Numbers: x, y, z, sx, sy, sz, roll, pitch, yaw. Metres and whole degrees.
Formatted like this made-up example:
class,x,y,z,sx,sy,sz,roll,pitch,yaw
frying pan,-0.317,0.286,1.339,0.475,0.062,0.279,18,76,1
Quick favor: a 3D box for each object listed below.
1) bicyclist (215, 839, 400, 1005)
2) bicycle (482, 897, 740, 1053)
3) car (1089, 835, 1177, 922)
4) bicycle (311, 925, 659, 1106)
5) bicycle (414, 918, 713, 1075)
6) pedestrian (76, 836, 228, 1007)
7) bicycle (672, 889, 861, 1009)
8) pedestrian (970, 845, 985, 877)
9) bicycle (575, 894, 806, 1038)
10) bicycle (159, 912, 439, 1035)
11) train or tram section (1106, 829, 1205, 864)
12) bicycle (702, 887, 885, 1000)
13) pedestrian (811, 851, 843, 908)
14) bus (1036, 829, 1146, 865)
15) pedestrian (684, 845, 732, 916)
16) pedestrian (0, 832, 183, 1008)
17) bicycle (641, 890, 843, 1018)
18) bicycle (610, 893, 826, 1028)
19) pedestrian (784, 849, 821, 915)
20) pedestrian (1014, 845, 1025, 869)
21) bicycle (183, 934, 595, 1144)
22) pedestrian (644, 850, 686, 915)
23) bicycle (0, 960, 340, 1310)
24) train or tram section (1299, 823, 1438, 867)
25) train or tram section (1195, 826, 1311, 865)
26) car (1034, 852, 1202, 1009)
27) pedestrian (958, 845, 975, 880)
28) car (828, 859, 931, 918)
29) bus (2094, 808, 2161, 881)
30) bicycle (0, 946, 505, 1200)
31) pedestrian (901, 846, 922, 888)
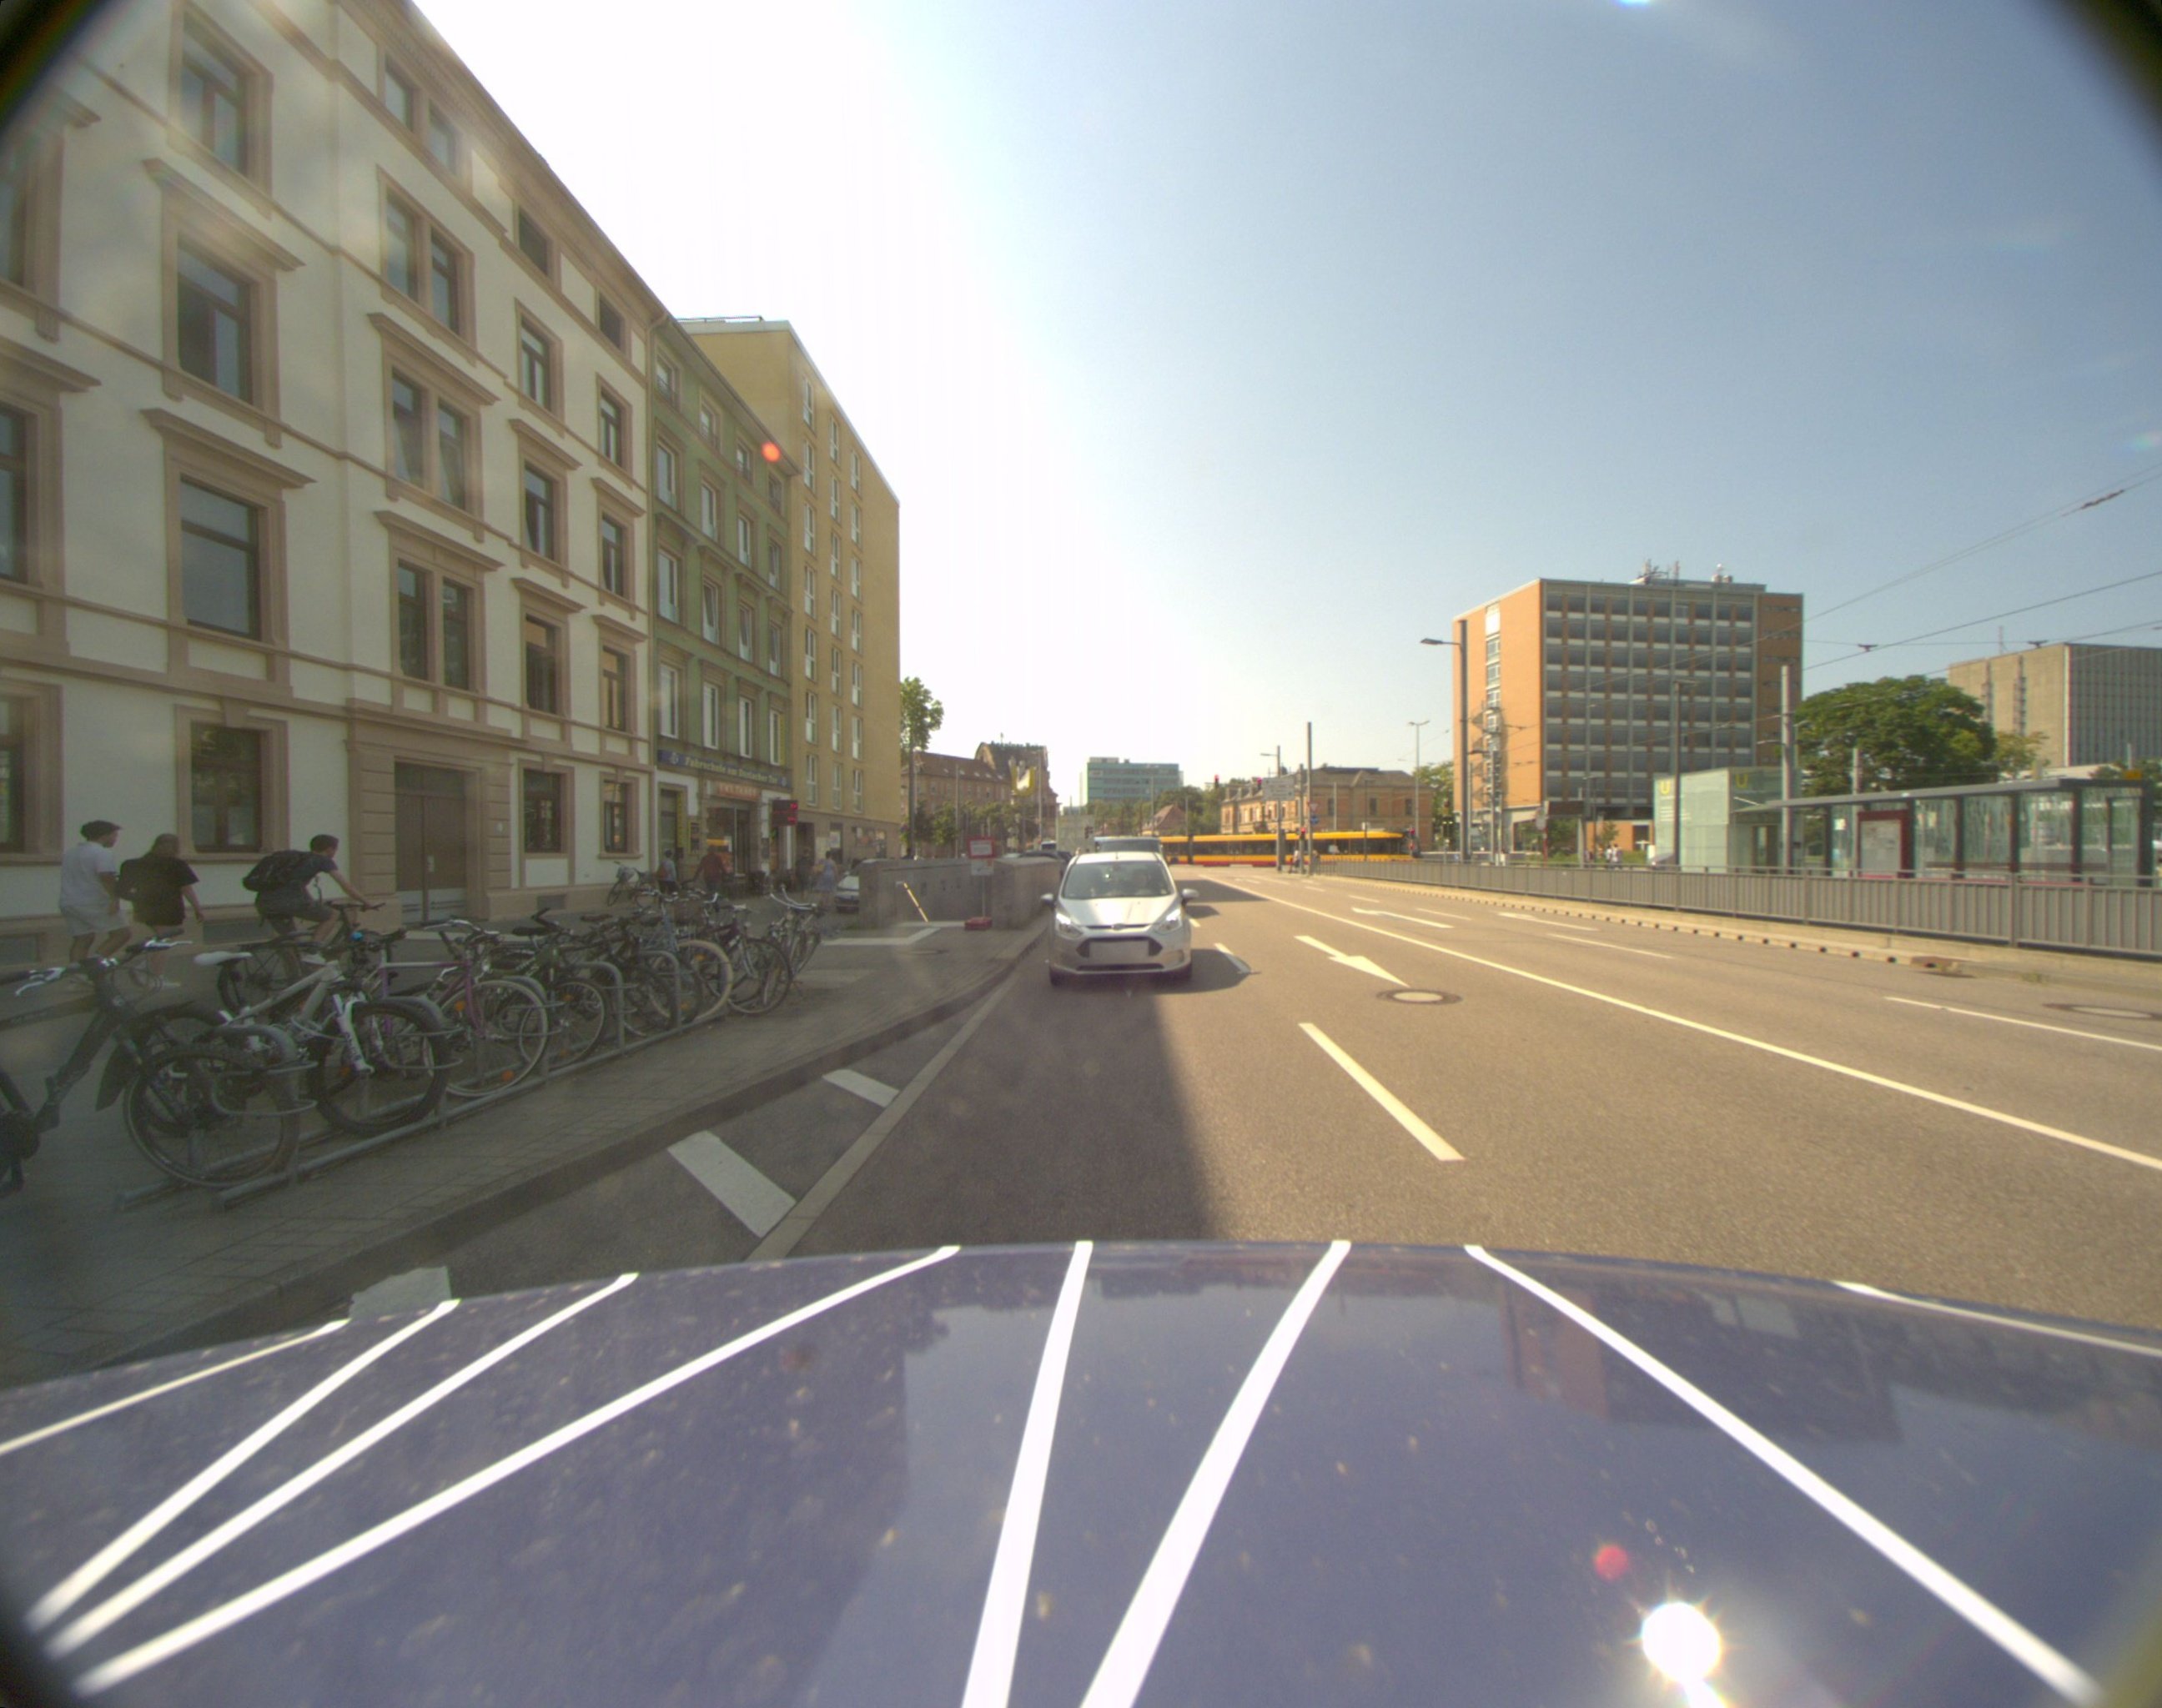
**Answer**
class,x,y,z,sx,sy,sz,roll,pitch,yaw
bicyclist,-7.868,0.647,7.793,0.720,1.577,1.103,-1,1,4
bicycle,-3.960,1.007,6.464,1.841,1.196,0.549,-2,1,3
car,1.328,0.536,19.984,1.998,1.953,4.816,-1,1,3
bicycle,-3.979,1.065,5.155,1.841,1.054,0.657,-2,1,3
bicycle,-3.927,1.070,5.845,1.841,1.050,0.657,-2,1,3
pedestrian,-9.997,0.695,8.210,0.645,1.762,0.796,1,1,-2
bicycle,-3.384,1.014,8.223,1.841,1.196,0.435,-2,1,3
pedestrian,-5.427,0.362,39.842,0.645,1.619,0.797,1,1,5
bicycle,-3.495,0.991,6.849,1.841,1.196,0.435,-2,1,3
bicycle,-7.858,1.149,7.809,0.720,0.948,2.001,-1,0,4
train or tram section,8.311,-0.837,86.988,12.331,3.743,2.004,0,1,40
bicycle,-3.304,1.017,8.820,1.841,1.196,0.637,-2,1,3
pedestrian,-7.430,0.736,22.245,0.645,1.619,0.796,1,1,1
bus,0.726,-0.577,74.084,2.927,3.120,12.310,-3,1,-43
pedestrian,-9.358,0.649,19.077,0.772,1.724,0.881,1,1,-2
pedestrian,-10.628,0.671,8.204,0.727,1.793,0.928,1,1,-1
bicycle,-3.427,1.006,7.745,1.841,1.212,0.435,-2,1,3
bicycle,-3.454,1.010,7.285,1.841,1.196,0.435,-2,1,3
pedestrian,-7.570,0.732,20.646,0.688,1.748,0.796,1,1,1
pedestrian,-4.192,0.229,52.071,0.645,1.619,0.796,1,1,1
bicycle,-4.010,1.055,4.489,1.841,1.047,0.657,-2,1,3
pedestrian,-10.533,0.700,19.269,0.645,1.619,0.796,1,1,-2
bicycle,-4.093,1.012,2.918,1.807,1.069,0.699,-2,1,2
train or tram section,26.180,-0.801,70.132,2.004,3.743,12.331,-1,1,-44
train or tram section,17.573,-0.839,78.891,12.331,3.743,2.004,0,1,42
car,0.501,0.817,10.122,1.728,1.579,4.000,-3,1,3
pedestrian,-5.424,0.396,36.110,0.645,1.619,0.797,1,1,3
car,-5.709,0.921,22.002,1.666,1.418,3.934,2,1,4
bus,53.083,-0.570,31.254,3.357,3.276,13.371,-3,1,-43
bicycle,-4.047,1.050,3.792,1.841,1.054,0.657,-2,1,3
pedestrian,-6.729,0.503,30.244,0.645,1.619,0.796,1,1,1
